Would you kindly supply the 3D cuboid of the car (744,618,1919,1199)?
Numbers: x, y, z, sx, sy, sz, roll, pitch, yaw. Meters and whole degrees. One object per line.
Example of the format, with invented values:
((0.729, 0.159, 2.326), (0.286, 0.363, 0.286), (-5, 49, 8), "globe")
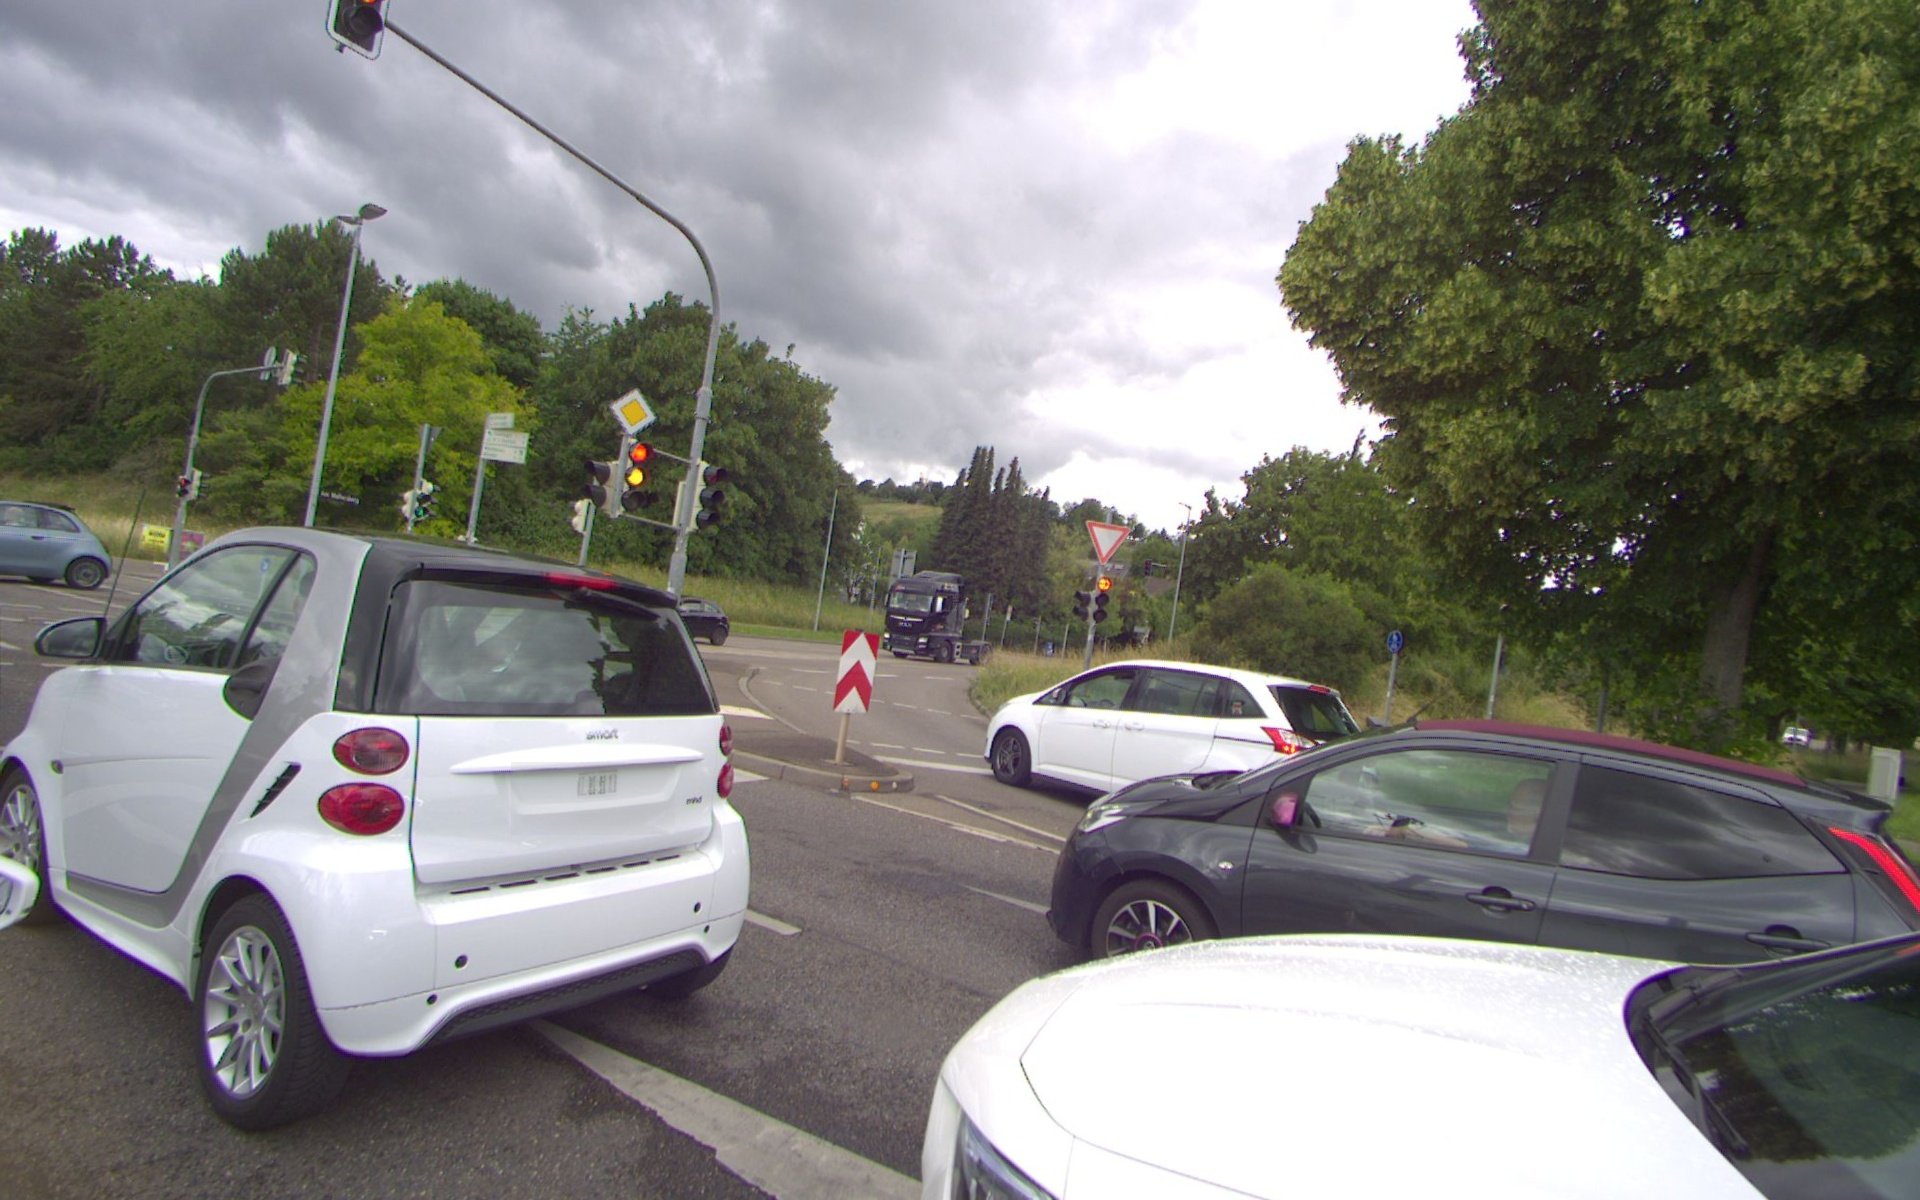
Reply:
((2.024, 1.077, 1.142), (4.457, 1.524, 1.847), (6, -2, 33), "car")

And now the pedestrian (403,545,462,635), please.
((-10.482, -0.194, 19.989), (0.703, 1.681, 0.644), (6, -1, 39), "pedestrian")

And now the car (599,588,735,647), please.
((-9.226, 0.581, 31.934), (1.669, 1.353, 3.882), (6, -2, 34), "car")

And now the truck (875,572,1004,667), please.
((-0.785, 0.959, 44.855), (2.646, 3.526, 6.010), (6, -2, 31), "truck")

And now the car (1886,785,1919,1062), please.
((7.299, 2.071, 5.148), (3.511, 1.524, 1.603), (6, -2, 38), "car")

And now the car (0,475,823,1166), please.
((-2.146, 0.493, 3.724), (2.721, 1.533, 1.595), (6, -2, 33), "car")

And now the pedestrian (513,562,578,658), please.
((-7.514, 0.181, 18.246), (0.703, 1.631, 0.644), (6, -1, 37), "pedestrian")

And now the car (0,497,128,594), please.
((-17.836, -1.135, 18.348), (1.730, 1.546, 3.602), (7, -2, 24), "car")

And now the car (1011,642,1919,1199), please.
((2.350, 1.178, 4.329), (3.816, 1.470, 1.616), (6, -2, 30), "car")

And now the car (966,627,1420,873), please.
((2.167, 1.404, 10.496), (1.752, 1.673, 4.325), (10, -3, -37), "car")
